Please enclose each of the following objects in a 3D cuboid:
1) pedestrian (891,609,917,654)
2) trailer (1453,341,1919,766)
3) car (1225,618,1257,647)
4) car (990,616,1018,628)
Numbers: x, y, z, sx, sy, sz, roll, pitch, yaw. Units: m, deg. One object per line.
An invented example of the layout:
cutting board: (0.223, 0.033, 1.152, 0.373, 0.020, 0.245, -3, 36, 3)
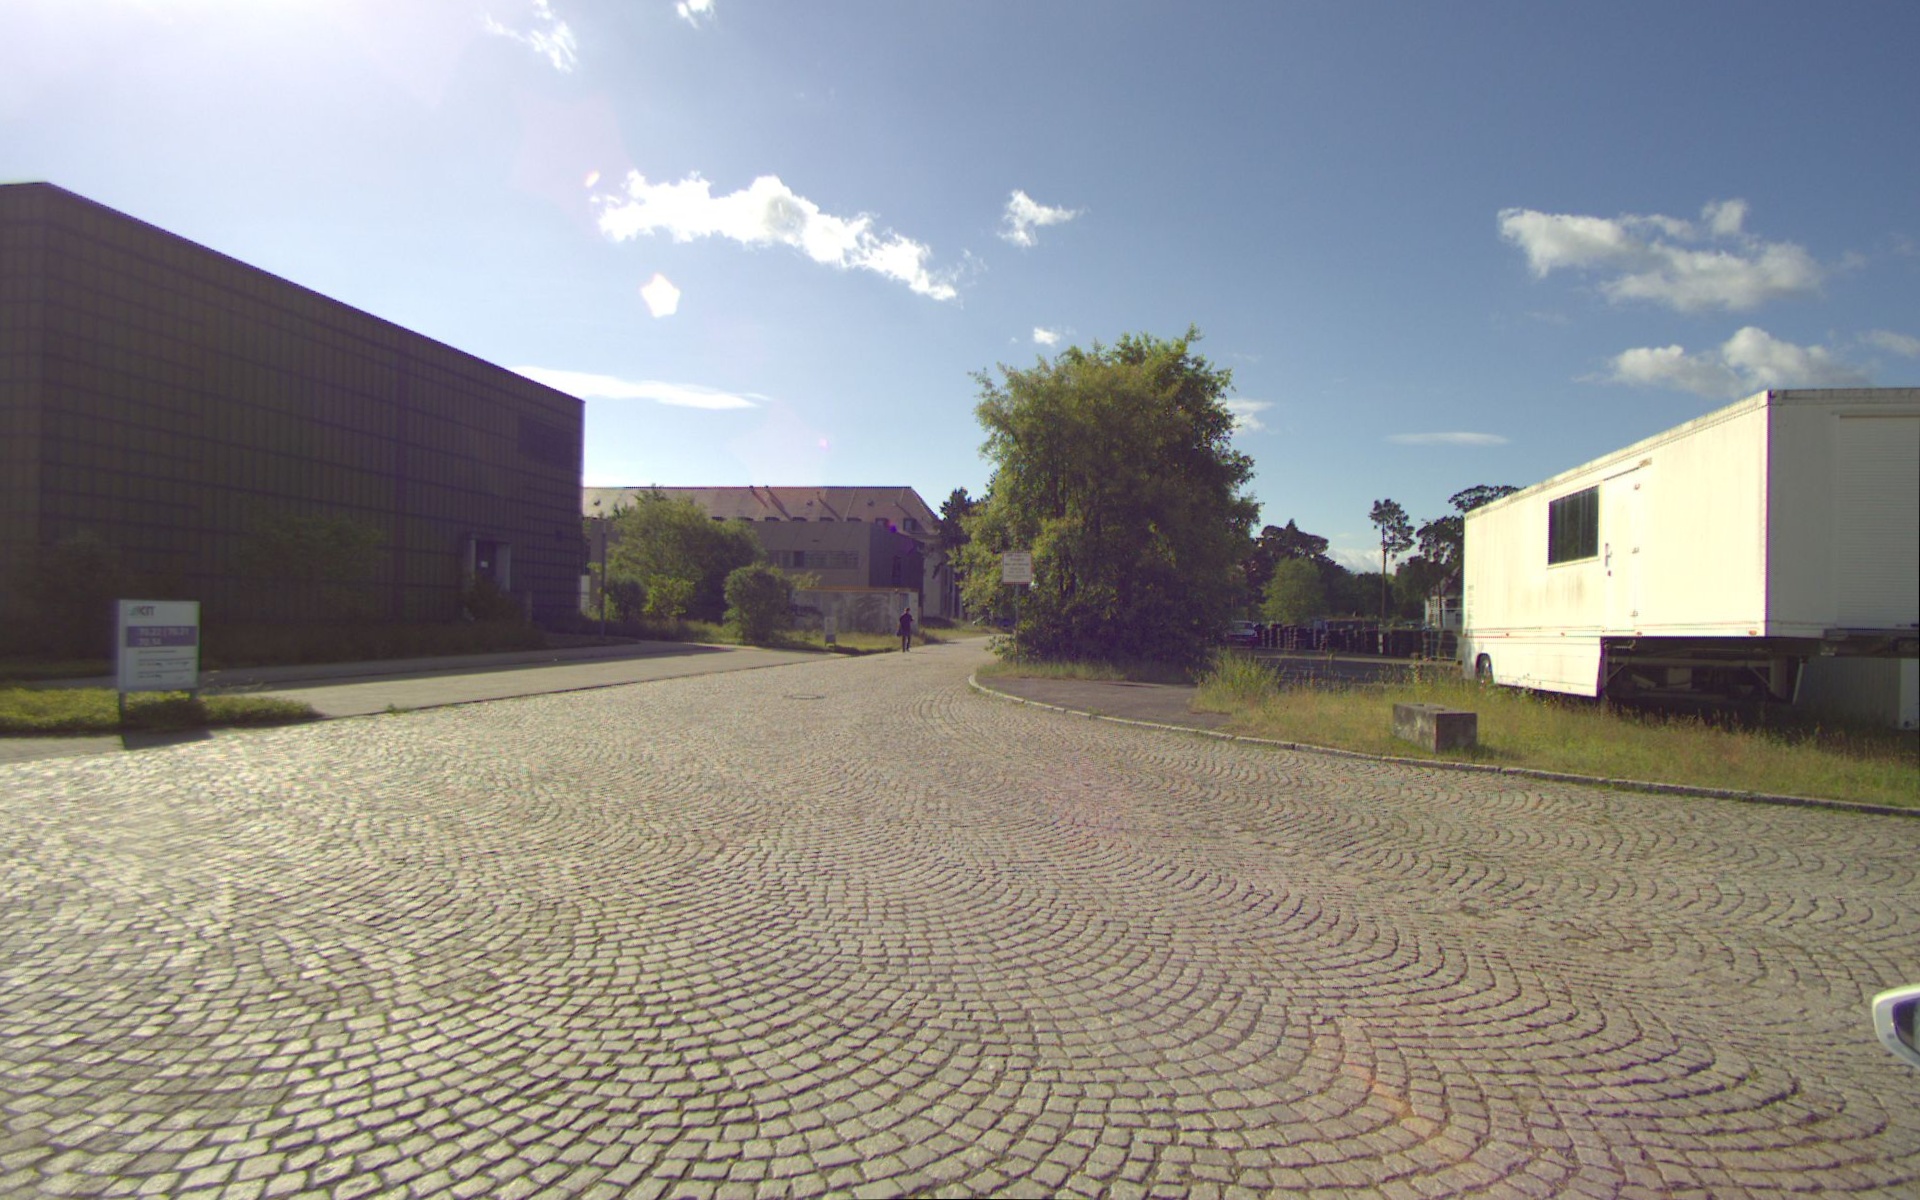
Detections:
pedestrian: (-2.318, 1.310, 41.605, 0.781, 1.804, 1.069, 2, -1, 8)
trailer: (10.244, -0.332, 14.650, 2.725, 3.963, 10.893, 1, -1, 11)
car: (14.725, 1.685, 52.694, 1.514, 1.425, 3.579, 1, -1, 15)
car: (4.537, 2.271, 104.070, 2.854, 1.276, 1.288, 1, -1, 0)
